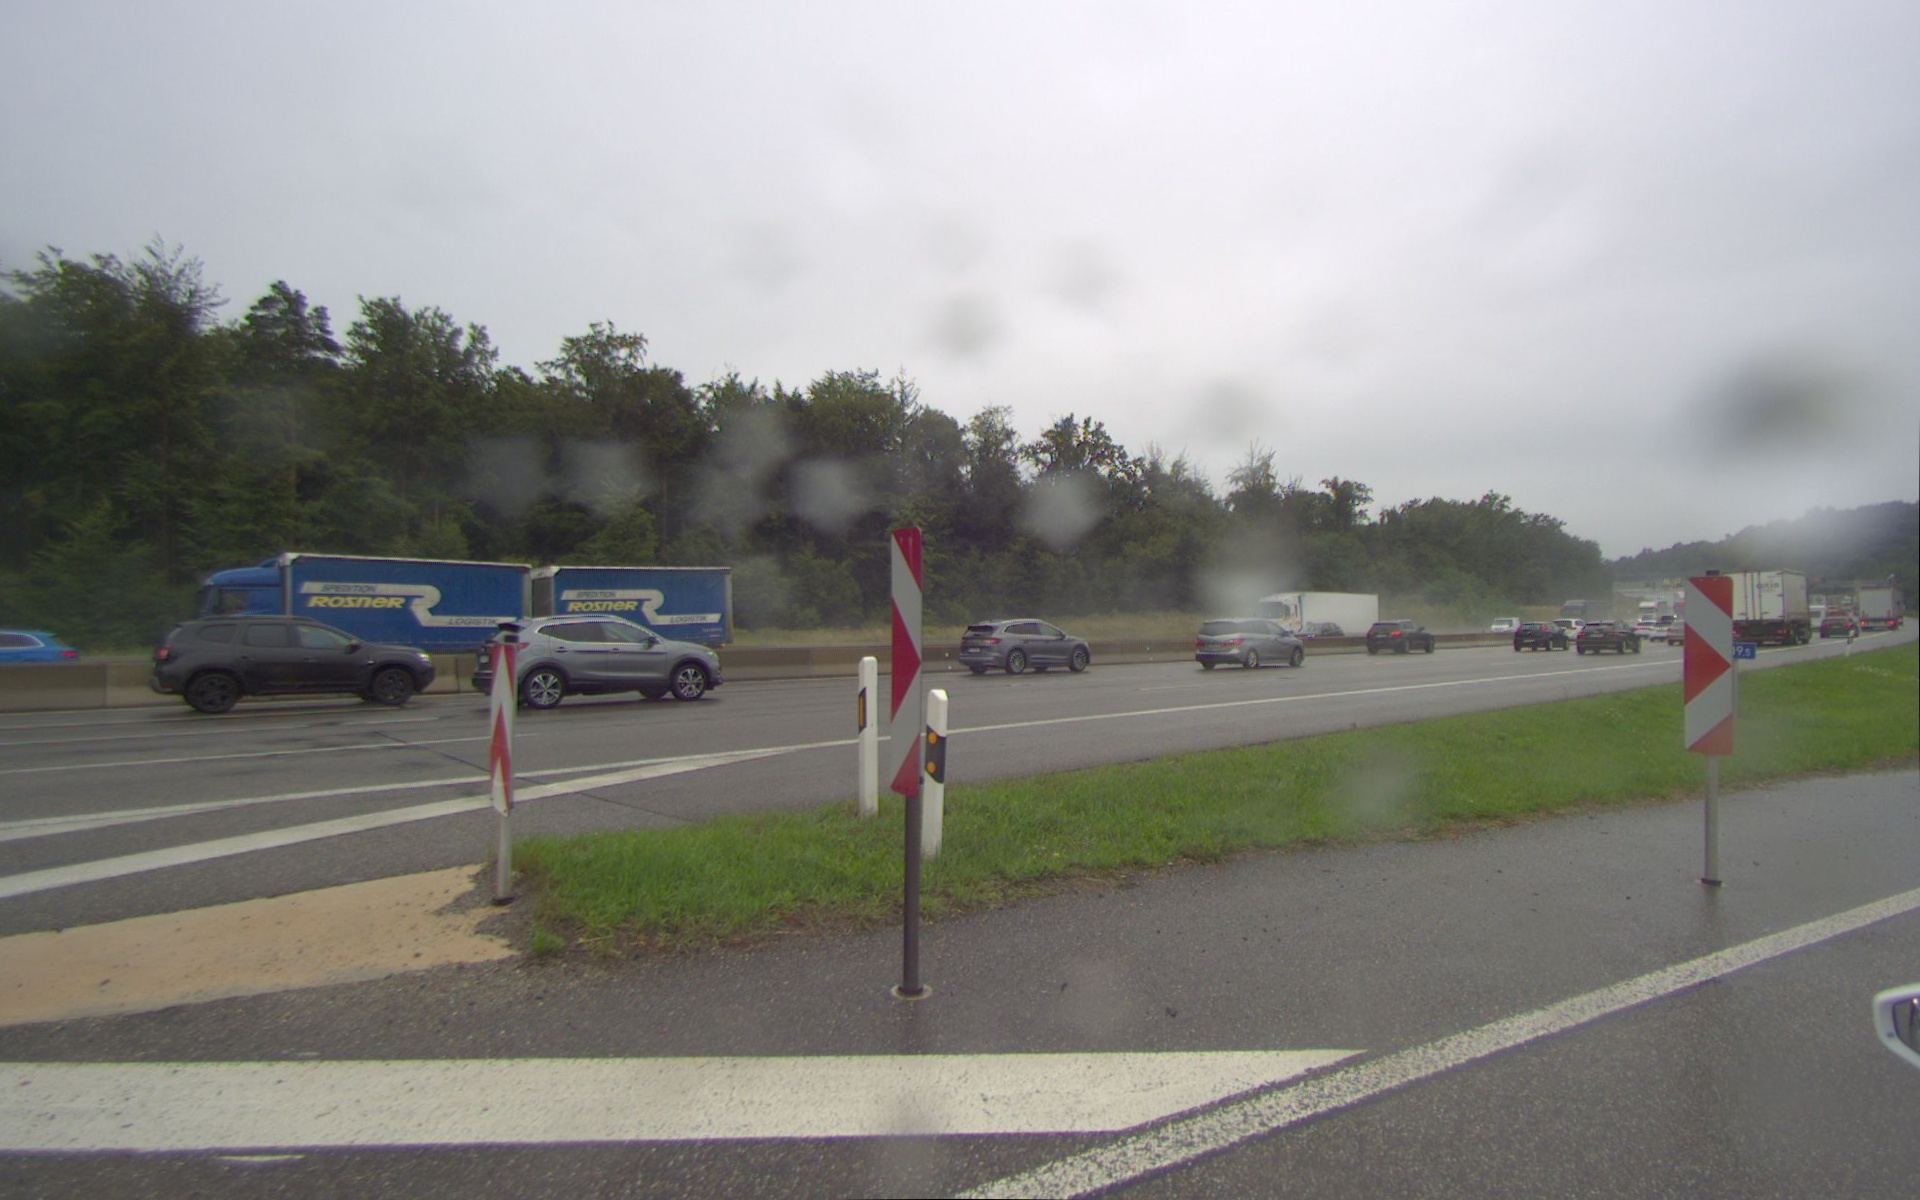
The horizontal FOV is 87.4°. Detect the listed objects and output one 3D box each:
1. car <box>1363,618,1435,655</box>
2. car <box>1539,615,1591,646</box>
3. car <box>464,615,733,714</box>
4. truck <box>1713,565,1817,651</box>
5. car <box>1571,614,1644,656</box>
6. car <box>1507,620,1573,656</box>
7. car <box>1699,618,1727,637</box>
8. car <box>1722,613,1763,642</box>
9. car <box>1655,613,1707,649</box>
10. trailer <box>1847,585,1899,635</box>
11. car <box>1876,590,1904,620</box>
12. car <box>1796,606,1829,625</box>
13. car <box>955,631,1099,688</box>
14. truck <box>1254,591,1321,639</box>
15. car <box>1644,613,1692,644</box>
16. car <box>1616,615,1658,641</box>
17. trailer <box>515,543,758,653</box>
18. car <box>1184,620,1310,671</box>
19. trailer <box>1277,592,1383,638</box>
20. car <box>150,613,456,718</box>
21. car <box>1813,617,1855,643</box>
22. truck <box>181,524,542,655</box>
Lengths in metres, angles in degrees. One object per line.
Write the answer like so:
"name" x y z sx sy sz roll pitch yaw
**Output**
"car" 21.797 1.789 49.831 4.070 1.759 1.760 1 -3 -43
"car" 40.890 2.049 67.830 3.972 2.040 1.975 1 -3 -43
"car" -6.469 1.104 18.235 4.300 1.595 1.704 1 -3 -41
"truck" 44.999 0.589 55.953 11.760 4.348 2.823 2 -3 -43
"car" 28.215 1.523 43.715 3.819 1.759 1.760 1 -2 -42
"car" 29.654 1.902 51.334 4.069 1.759 1.760 1 -2 -42
"car" 73.507 2.645 98.027 3.761 1.810 1.681 1 -2 -45
"car" 56.734 1.970 72.815 1.973 2.040 3.976 -1 -2 44
"car" 42.325 1.795 58.941 4.305 1.997 1.771 1 -1 -44
"trailer" 90.705 1.132 99.902 3.509 4.672 12.055 -2 -3 42
"car" 114.608 0.598 123.853 2.346 3.532 4.789 3 1 42
"car" 86.383 1.597 101.785 3.968 1.840 1.976 1 0 -41
"car" 2.080 1.775 30.559 4.422 1.594 1.704 1 -3 -40
"truck" 25.058 1.157 76.768 5.563 3.497 2.621 1 -2 -44
"car" 49.870 1.972 70.705 3.972 2.040 1.974 1 1 -43
"car" 55.253 2.303 81.932 3.972 2.040 1.975 1 -2 -43
"trailer" -13.297 -0.006 41.961 9.098 4.101 3.062 2 2 -42
"car" 9.275 1.433 32.329 4.298 1.547 1.774 1 -2 -40
"trailer" 30.396 1.294 81.956 13.395 3.543 2.623 1 -2 -44
"car" -11.879 1.119 18.355 4.428 1.685 1.907 1 -3 -43
"car" 63.914 2.151 73.445 3.972 1.840 1.975 1 0 -43
"truck" -20.653 -0.244 35.349 10.479 4.033 3.033 2 1 -42
